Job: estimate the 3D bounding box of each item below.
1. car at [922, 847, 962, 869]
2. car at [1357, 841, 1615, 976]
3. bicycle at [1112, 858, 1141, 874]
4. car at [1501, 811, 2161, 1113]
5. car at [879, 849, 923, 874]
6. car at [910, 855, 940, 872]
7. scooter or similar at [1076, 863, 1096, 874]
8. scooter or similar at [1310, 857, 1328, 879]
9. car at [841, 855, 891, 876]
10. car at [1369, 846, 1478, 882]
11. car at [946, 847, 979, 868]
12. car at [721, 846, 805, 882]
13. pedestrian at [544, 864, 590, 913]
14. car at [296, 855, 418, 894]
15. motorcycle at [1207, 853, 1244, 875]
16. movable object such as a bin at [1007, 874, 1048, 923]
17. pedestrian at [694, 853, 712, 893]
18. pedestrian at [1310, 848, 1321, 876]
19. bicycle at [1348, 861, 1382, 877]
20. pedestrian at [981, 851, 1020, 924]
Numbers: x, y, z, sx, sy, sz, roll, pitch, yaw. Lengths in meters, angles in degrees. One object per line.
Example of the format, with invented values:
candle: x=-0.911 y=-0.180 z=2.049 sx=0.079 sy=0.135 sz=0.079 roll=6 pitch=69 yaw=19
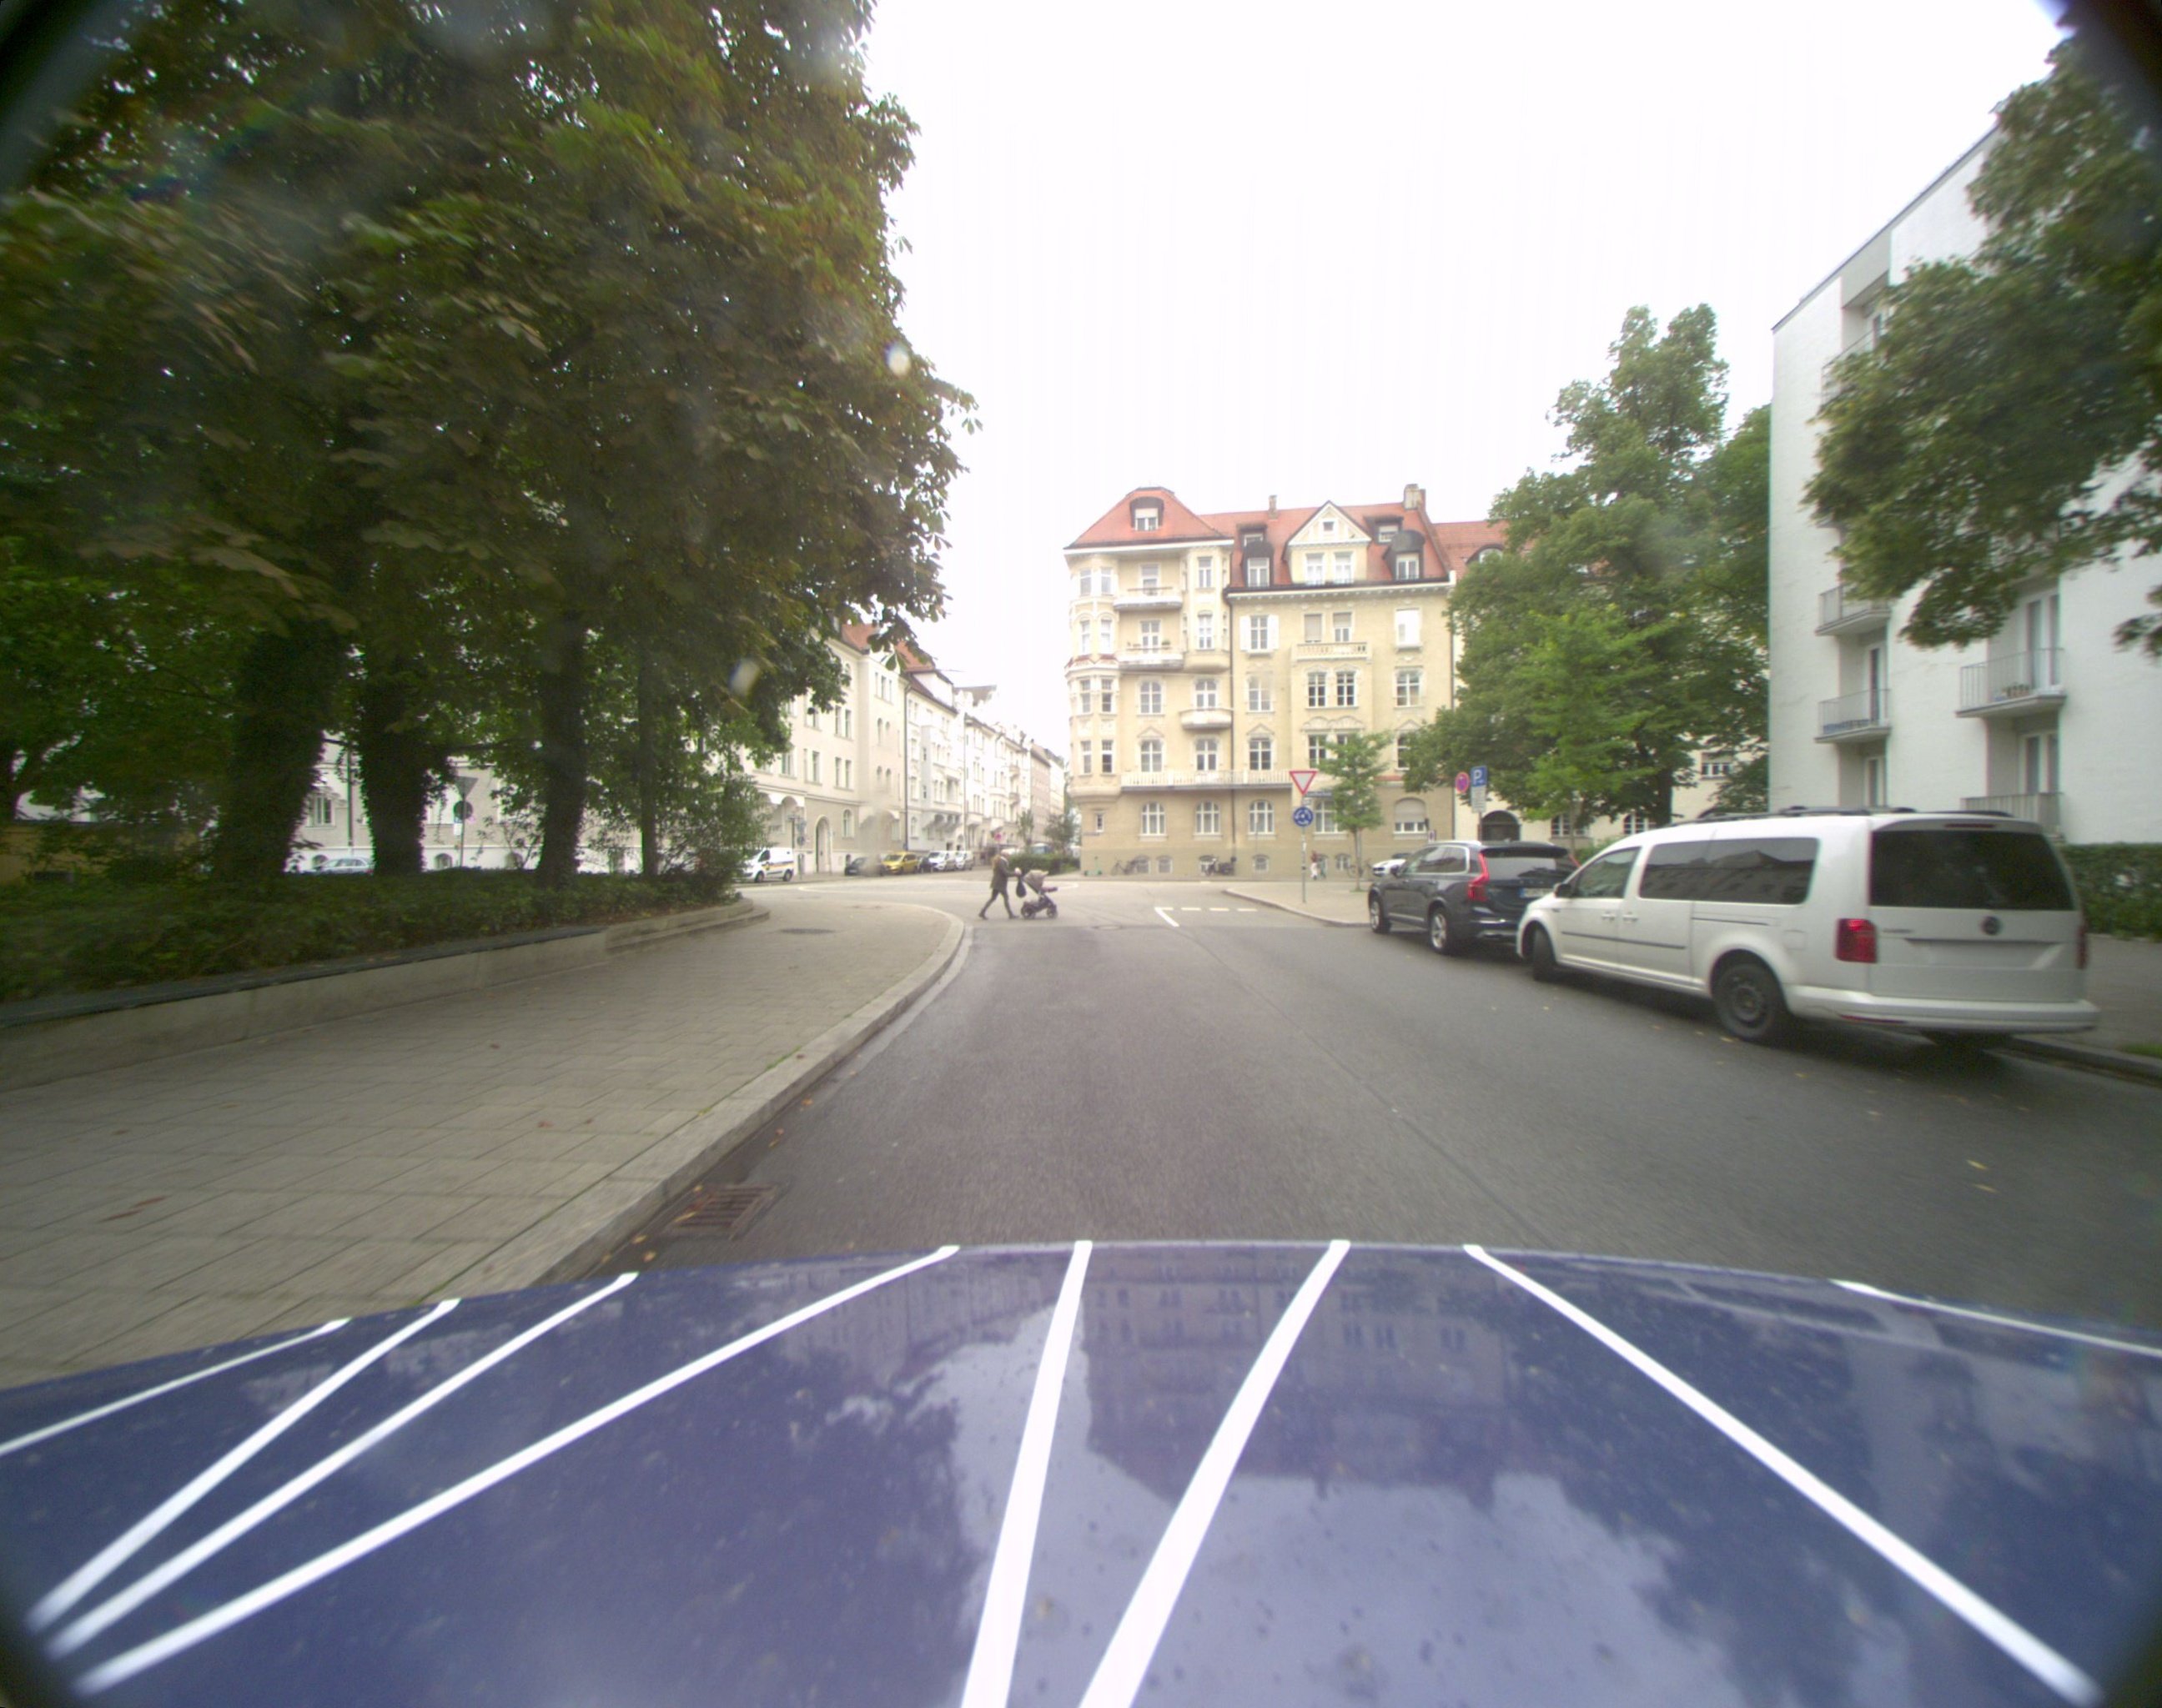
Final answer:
car: x=-12.984 y=0.367 z=71.250 sx=2.156 sy=1.902 sz=4.775 roll=0 pitch=2 yaw=9
car: x=6.296 y=0.686 z=12.656 sx=1.884 sy=1.758 sz=5.059 roll=0 pitch=1 yaw=4
bicycle: x=2.889 y=0.786 z=48.272 sx=1.783 sy=0.986 sz=0.543 roll=0 pitch=2 yaw=5
car: x=6.214 y=0.687 z=7.334 sx=1.884 sy=1.926 sz=4.834 roll=1 pitch=0 yaw=4
car: x=-14.241 y=0.544 z=60.415 sx=1.793 sy=1.809 sz=4.306 roll=0 pitch=2 yaw=10
car: x=-13.511 y=0.821 z=65.978 sx=1.440 sy=1.351 sz=3.360 roll=0 pitch=2 yaw=10
scooter or similar: x=0.293 y=0.920 z=48.213 sx=1.235 sy=0.683 sz=0.316 roll=-1 pitch=2 yaw=-20
scooter or similar: x=13.454 y=0.772 z=42.912 sx=1.281 sy=1.223 sz=0.408 roll=-2 pitch=2 yaw=-42
car: x=-15.498 y=0.804 z=54.984 sx=1.948 sy=1.412 sz=3.821 roll=0 pitch=2 yaw=10
car: x=18.755 y=0.514 z=41.855 sx=5.023 sy=1.855 sz=2.167 roll=0 pitch=2 yaw=8
car: x=-12.054 y=0.342 z=77.486 sx=2.052 sy=1.928 sz=4.578 roll=0 pitch=2 yaw=9
car: x=-17.730 y=0.519 z=42.694 sx=1.948 sy=1.923 sz=4.977 roll=0 pitch=0 yaw=10
pedestrian: x=-12.579 y=0.833 z=18.604 sx=0.577 sy=1.170 sz=0.746 roll=0 pitch=0 yaw=11
car: x=-31.137 y=0.857 z=32.722 sx=3.993 sy=1.574 sz=1.739 roll=0 pitch=2 yaw=10
motorcycle: x=8.958 y=0.611 z=47.164 sx=2.243 sy=1.319 sz=0.824 roll=0 pitch=2 yaw=6
movable object such as a bin: x=-1.240 y=1.016 z=17.573 sx=0.900 sy=1.078 sz=0.777 roll=-1 pitch=2 yaw=-7
pedestrian: x=-16.937 y=0.840 z=34.036 sx=0.404 sy=1.758 sz=0.571 roll=0 pitch=1 yaw=18
pedestrian: x=14.215 y=0.483 z=46.051 sx=0.606 sy=1.655 sz=0.463 roll=0 pitch=2 yaw=13
bicycle: x=16.462 y=0.864 z=44.084 sx=1.808 sy=0.952 sz=0.468 roll=0 pitch=2 yaw=11
pedestrian: x=-1.836 y=0.756 z=17.381 sx=0.863 sy=1.610 sz=0.593 roll=-1 pitch=2 yaw=-7
